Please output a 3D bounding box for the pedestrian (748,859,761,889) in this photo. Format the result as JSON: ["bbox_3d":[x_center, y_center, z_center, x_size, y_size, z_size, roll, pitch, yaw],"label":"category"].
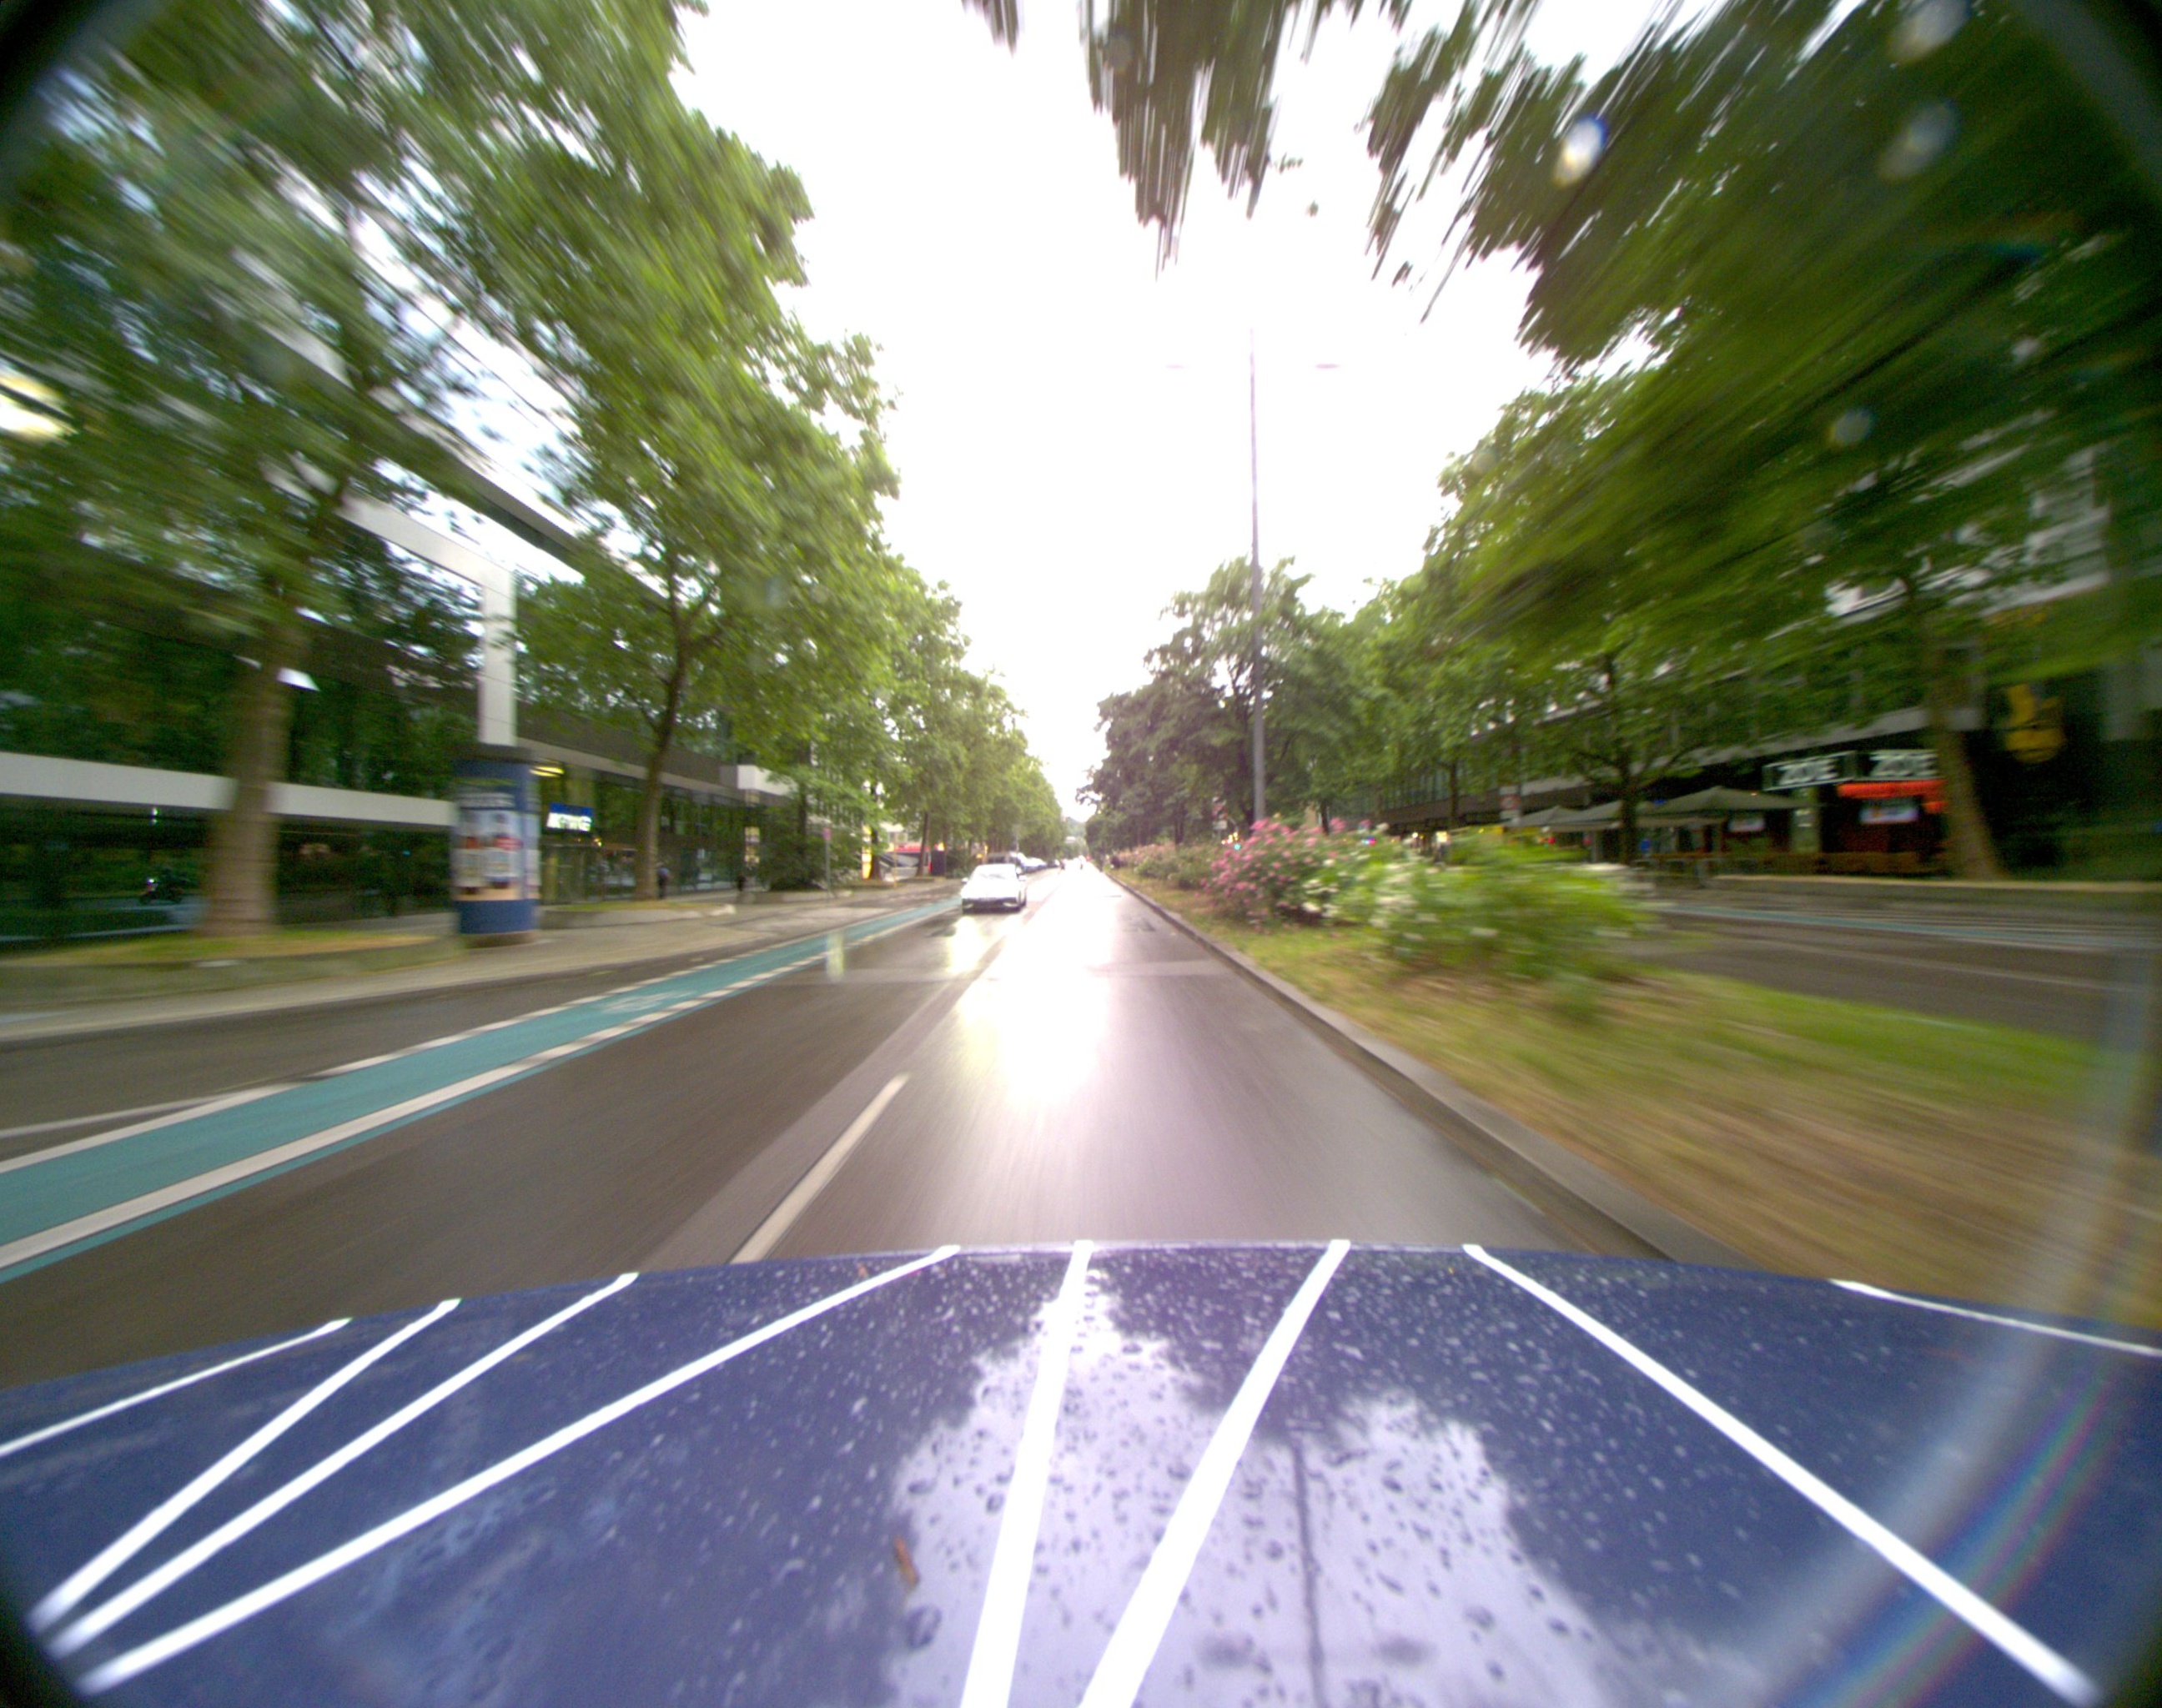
[{"bbox_3d":[-20.528,1.247,47.774,0.524,1.848,0.704,1,2,0],"label":"pedestrian"}]

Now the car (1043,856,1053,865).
[{"bbox_3d":[-5.686,1.158,130.583,1.598,1.516,3.425,-2,0,0],"label":"car"}]

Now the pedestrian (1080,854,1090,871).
[{"bbox_3d":[0.417,0.935,82.777,0.892,1.839,0.787,-2,1,-9],"label":"pedestrian"}]

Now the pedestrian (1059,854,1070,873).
[{"bbox_3d":[-1.686,0.973,77.332,0.891,1.839,0.721,-2,1,6],"label":"pedestrian"}]

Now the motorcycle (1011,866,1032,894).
[{"bbox_3d":[-2.763,1.205,35.540,0.744,1.194,2.235,-2,1,0],"label":"motorcycle"}]

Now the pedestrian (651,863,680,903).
[{"bbox_3d":[-19.189,1.325,35.113,0.789,1.783,1.086,1,0,-7],"label":"pedestrian"}]

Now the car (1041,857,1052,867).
[{"bbox_3d":[-5.555,1.312,122.224,1.598,1.516,3.425,-2,0,0],"label":"car"}]

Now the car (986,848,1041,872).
[{"bbox_3d":[-7.950,0.686,89.193,6.268,2.665,2.326,-2,1,36],"label":"car"}]

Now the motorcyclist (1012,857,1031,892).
[{"bbox_3d":[-2.778,0.939,35.434,0.744,1.575,1.059,-2,1,0],"label":"motorcyclist"}]

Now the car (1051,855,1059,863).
[{"bbox_3d":[-5.278,1.026,154.819,1.598,1.516,3.425,-2,0,0],"label":"car"}]

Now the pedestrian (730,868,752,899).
[{"bbox_3d":[-16.872,1.473,37.748,0.588,1.496,1.005,-1,0,1],"label":"pedestrian"}]

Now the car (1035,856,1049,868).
[{"bbox_3d":[-5.050,1.011,99.104,1.598,1.516,3.425,-2,0,0],"label":"car"}]

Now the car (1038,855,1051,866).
[{"bbox_3d":[-5.419,0.970,113.315,1.598,1.516,3.425,-2,0,0],"label":"car"}]

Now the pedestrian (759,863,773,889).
[{"bbox_3d":[-19.798,1.365,47.758,0.527,1.616,0.719,1,2,0],"label":"pedestrian"}]

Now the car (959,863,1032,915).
[{"bbox_3d":[-2.681,1.074,24.638,1.795,1.463,3.794,-2,0,1],"label":"car"}]
